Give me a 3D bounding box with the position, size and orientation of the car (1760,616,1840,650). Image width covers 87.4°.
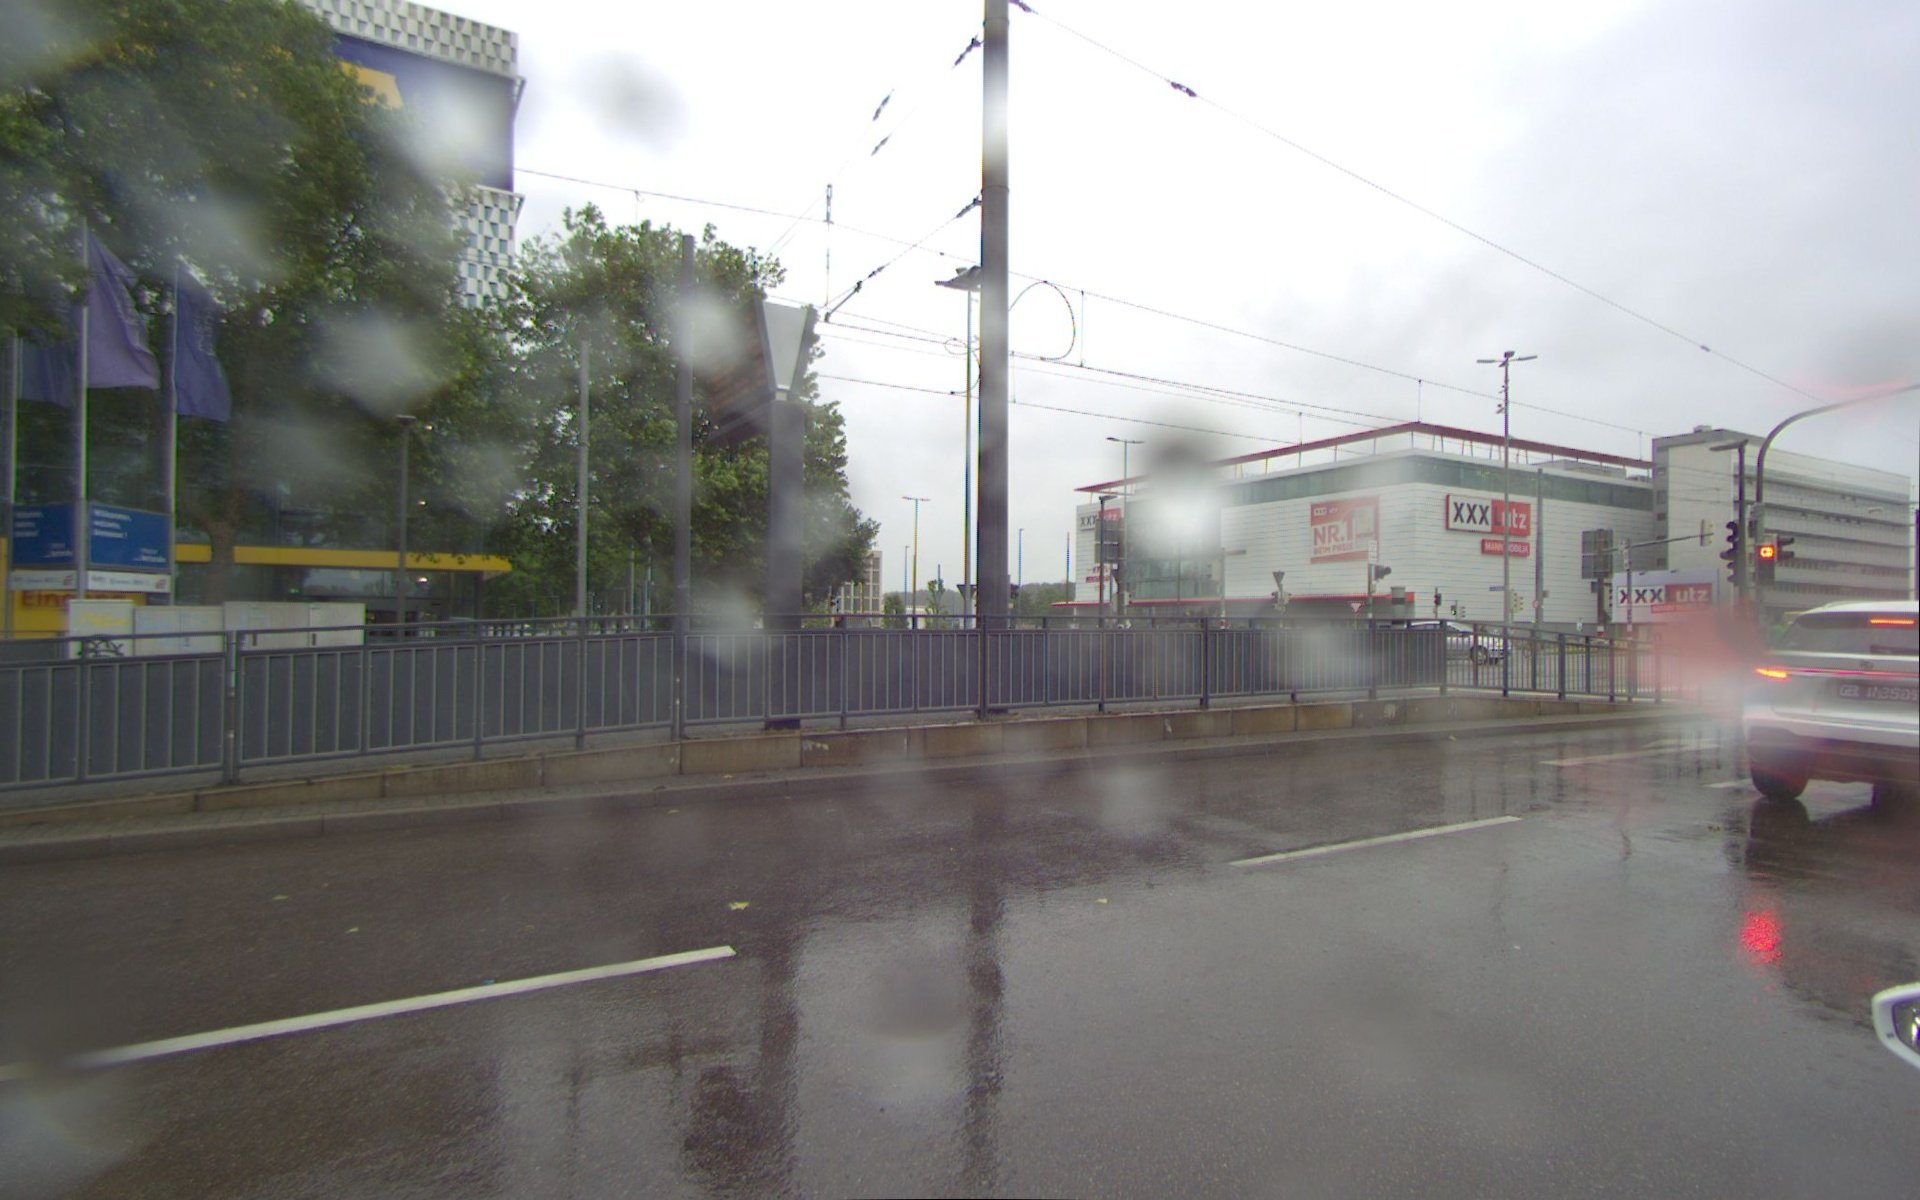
[{"bbox_3d":[39.820,1.576,47.619,3.765,1.445,1.702,3,1,-30],"label":"car"}]

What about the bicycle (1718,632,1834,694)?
[{"bbox_3d":[16.564,1.268,20.439,1.726,1.153,0.519,2,0,24],"label":"bicycle"}]

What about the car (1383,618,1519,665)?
[{"bbox_3d":[18.184,1.500,37.304,4.194,1.447,1.640,3,2,45],"label":"car"}]

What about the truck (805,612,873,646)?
[{"bbox_3d":[-9.531,2.224,78.366,2.445,2.240,7.329,3,1,-31],"label":"truck"}]

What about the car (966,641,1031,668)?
[{"bbox_3d":[2.409,3.387,63.195,4.006,1.394,1.598,3,1,43],"label":"car"}]

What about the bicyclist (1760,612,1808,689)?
[{"bbox_3d":[16.732,1.018,20.404,0.594,1.511,0.599,2,1,26],"label":"bicyclist"}]

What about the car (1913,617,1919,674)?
[{"bbox_3d":[26.906,1.287,25.397,3.671,1.527,1.649,3,1,24],"label":"car"}]

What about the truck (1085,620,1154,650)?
[{"bbox_3d":[12.291,2.669,77.867,1.990,1.968,5.847,3,1,-31],"label":"truck"}]

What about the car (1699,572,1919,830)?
[{"bbox_3d":[8.491,0.751,8.495,4.609,1.799,1.921,2,0,-30],"label":"car"}]

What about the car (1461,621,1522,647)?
[{"bbox_3d":[31.926,2.033,60.338,3.765,1.372,1.471,3,1,-30],"label":"car"}]
